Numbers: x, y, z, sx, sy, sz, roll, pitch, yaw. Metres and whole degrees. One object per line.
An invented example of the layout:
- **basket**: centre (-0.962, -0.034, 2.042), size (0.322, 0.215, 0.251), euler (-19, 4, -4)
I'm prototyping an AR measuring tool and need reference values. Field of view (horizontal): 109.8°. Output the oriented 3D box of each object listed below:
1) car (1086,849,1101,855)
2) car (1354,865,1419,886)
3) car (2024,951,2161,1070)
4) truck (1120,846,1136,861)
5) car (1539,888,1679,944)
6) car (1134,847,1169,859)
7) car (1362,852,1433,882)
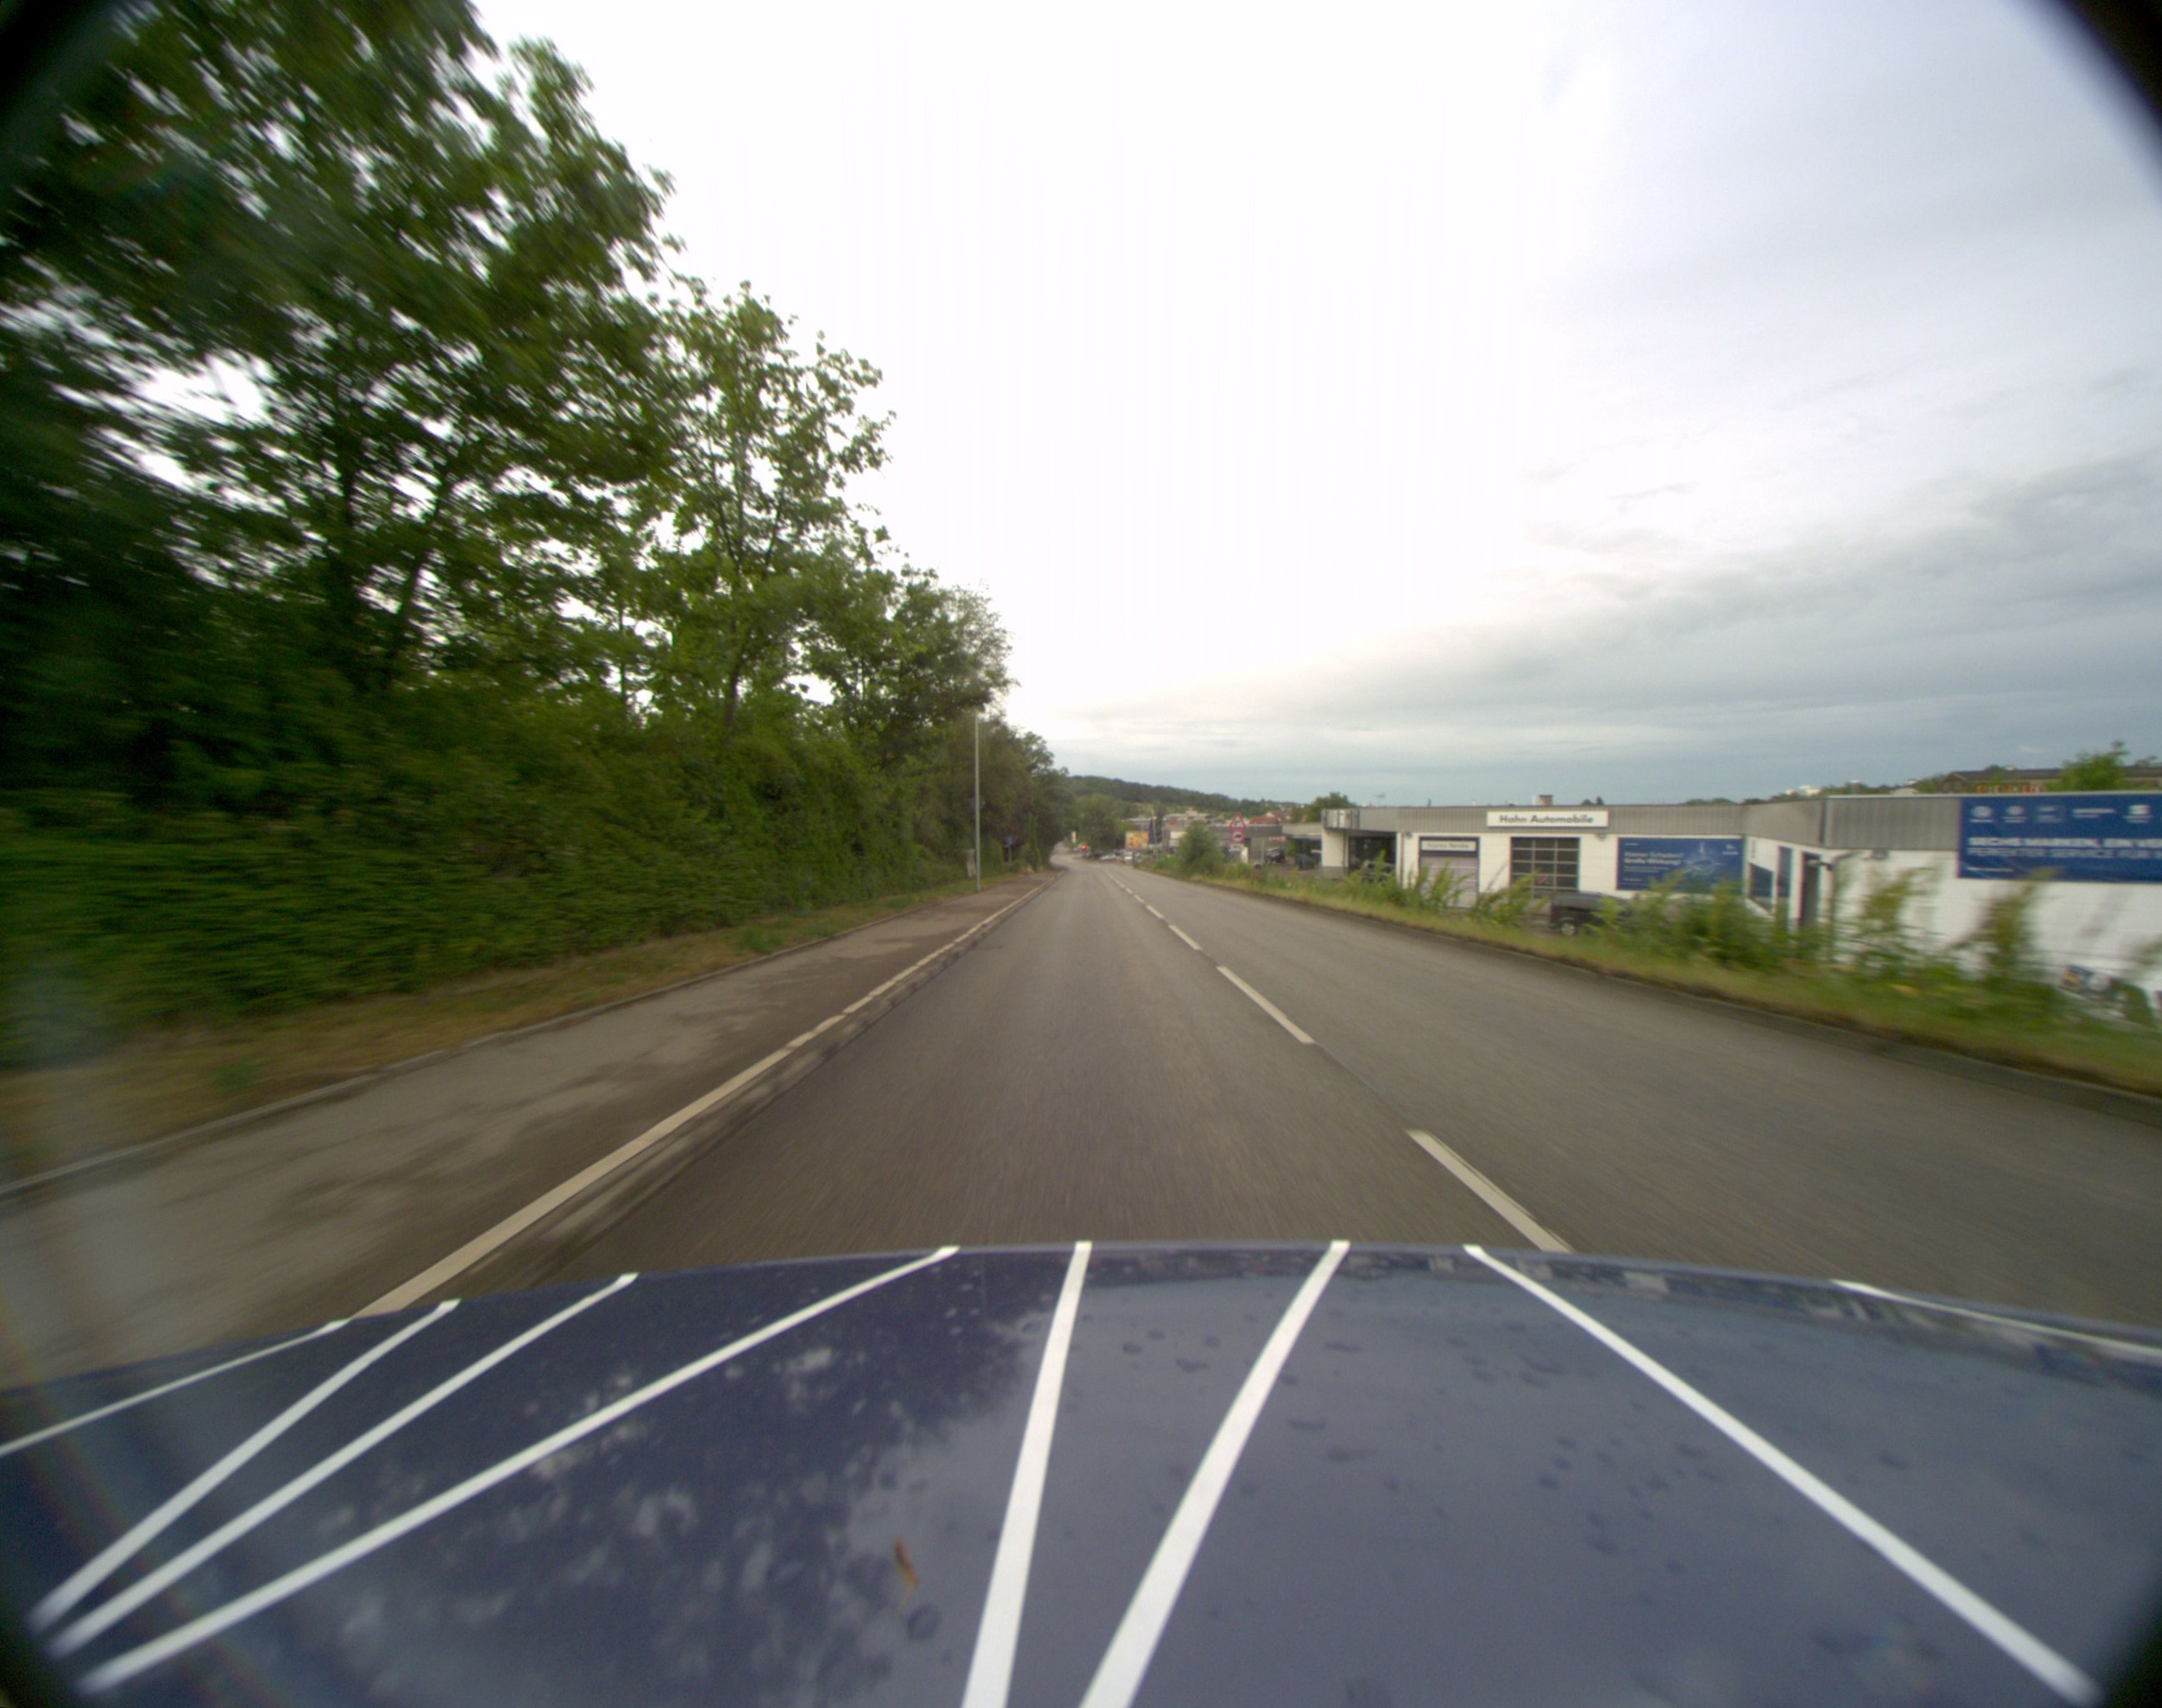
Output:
- **car**: centre (3.187, -0.527, 190.821), size (3.768, 1.559, 1.671), euler (0, 2, -3)
- **car**: centre (22.094, 1.561, 54.944), size (4.010, 1.408, 1.957), euler (0, 0, 34)
- **car**: centre (21.224, 3.092, 14.908), size (1.861, 1.793, 4.652), euler (5, 0, 32)
- **truck**: centre (8.766, -0.175, 142.575), size (1.999, 2.617, 7.888), euler (0, 1, -3)
- **car**: centre (22.276, 2.545, 32.149), size (4.626, 1.793, 1.872), euler (5, 1, 38)
- **car**: centre (10.747, -0.145, 116.445), size (5.084, 1.860, 1.821), euler (0, 1, -9)
- **car**: centre (23.806, 0.946, 57.196), size (4.471, 1.949, 1.992), euler (3, 3, 35)
